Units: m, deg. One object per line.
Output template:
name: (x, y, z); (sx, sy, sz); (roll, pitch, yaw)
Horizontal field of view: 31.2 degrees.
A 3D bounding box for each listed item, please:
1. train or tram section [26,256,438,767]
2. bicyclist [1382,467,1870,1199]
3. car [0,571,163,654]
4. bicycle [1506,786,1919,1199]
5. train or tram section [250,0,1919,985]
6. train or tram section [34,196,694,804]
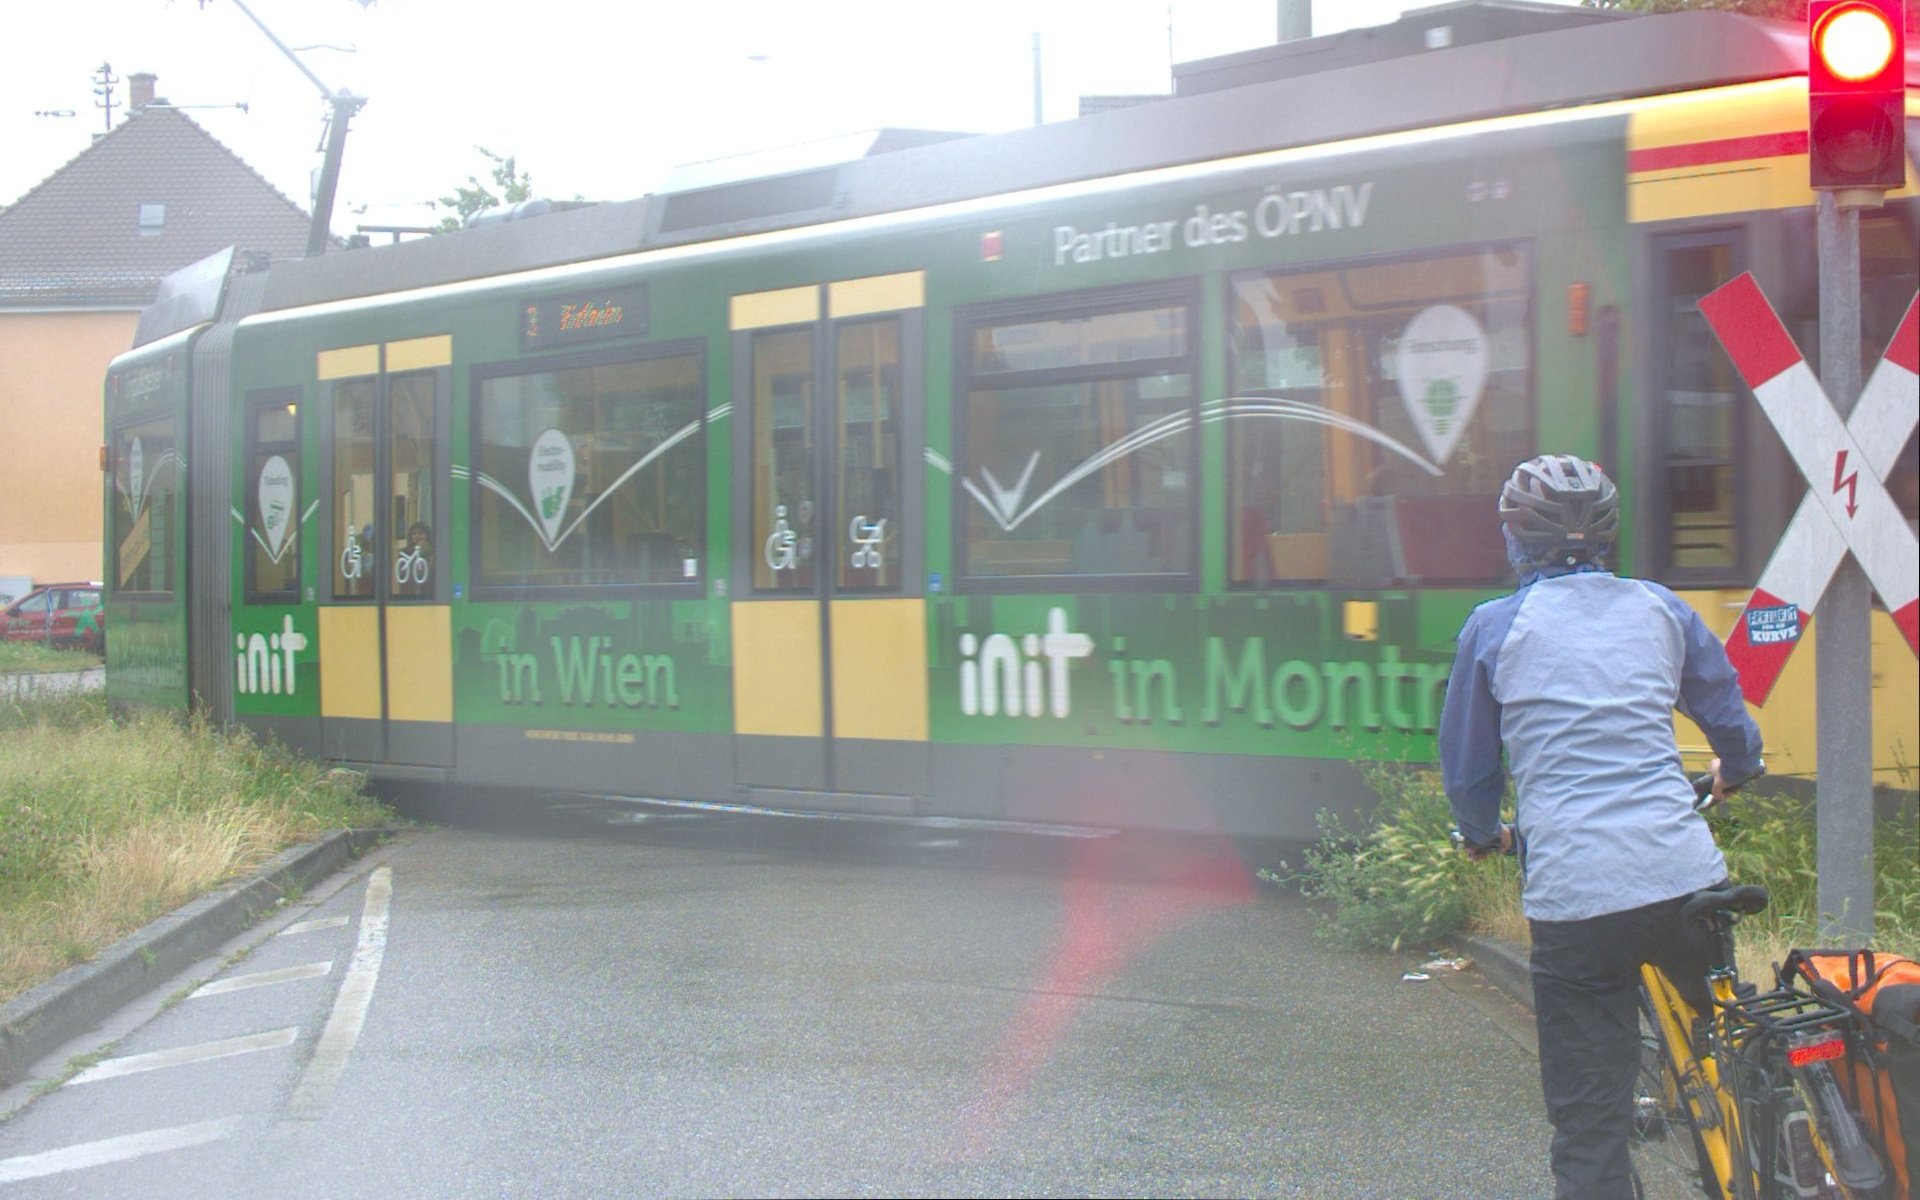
train or tram section: (-6.603, -0.727, 30.504); (2.760, 3.541, 13.137); (-1, 1, -13)
bicyclist: (1.159, 0.590, 6.151); (0.667, 1.620, 0.853); (1, 0, -2)
car: (-16.666, 0.208, 62.588); (3.986, 1.451, 1.834); (1, 0, -6)
bicycle: (1.352, 0.898, 6.064); (0.446, 1.001, 1.728); (-1, 1, -2)
train or tram section: (0.720, -0.590, 16.180); (2.761, 3.541, 12.200); (-2, 1, -38)
train or tram section: (-4.107, -0.632, 22.880); (2.760, 3.541, 4.988); (-2, 1, -29)
